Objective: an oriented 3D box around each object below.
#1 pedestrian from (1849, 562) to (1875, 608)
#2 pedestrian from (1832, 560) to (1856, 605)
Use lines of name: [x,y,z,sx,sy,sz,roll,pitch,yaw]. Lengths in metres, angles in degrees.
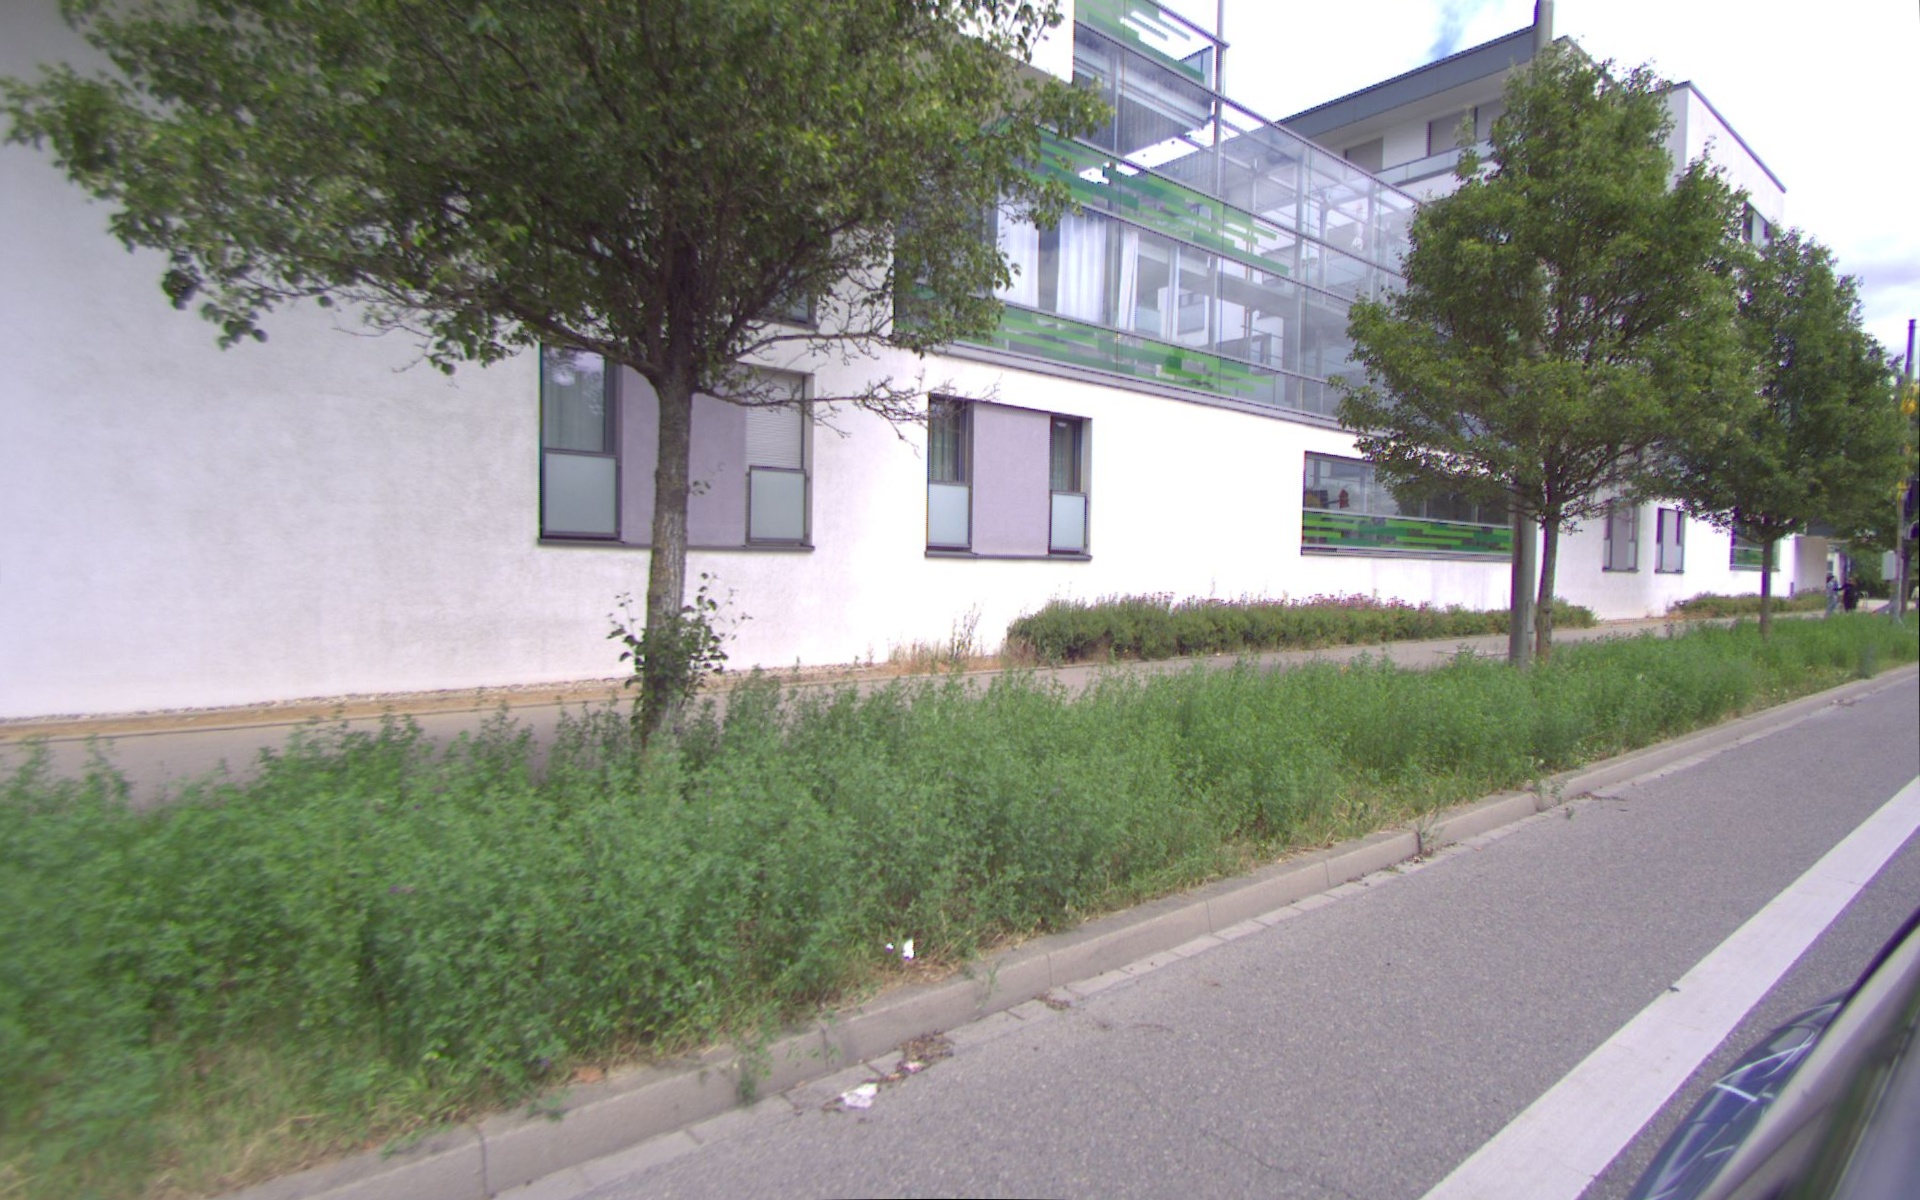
pedestrian: [37.803,-0.628,42.426,0.690,1.910,0.741,-2,1,-43]
pedestrian: [37.659,-0.741,43.112,0.613,1.863,0.584,-1,1,23]
